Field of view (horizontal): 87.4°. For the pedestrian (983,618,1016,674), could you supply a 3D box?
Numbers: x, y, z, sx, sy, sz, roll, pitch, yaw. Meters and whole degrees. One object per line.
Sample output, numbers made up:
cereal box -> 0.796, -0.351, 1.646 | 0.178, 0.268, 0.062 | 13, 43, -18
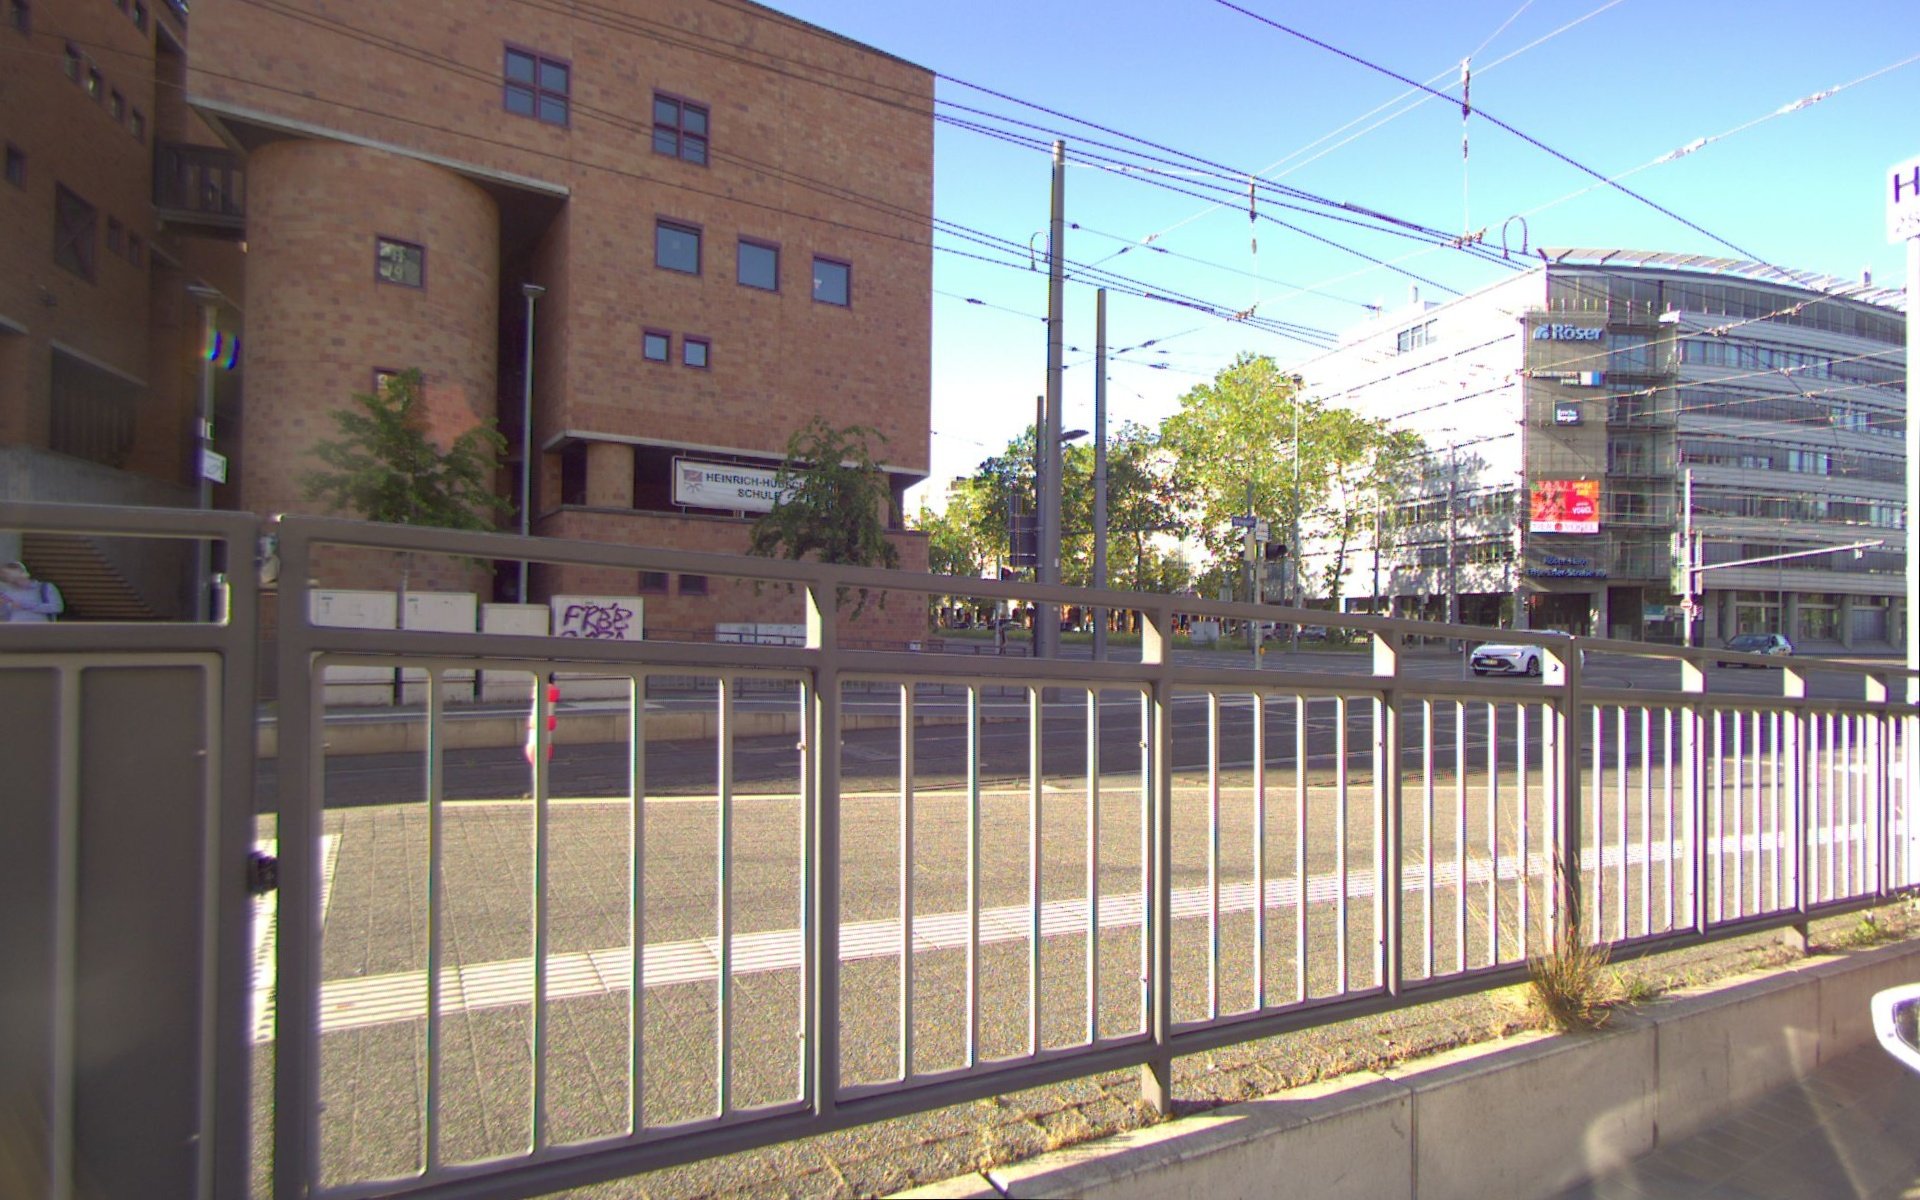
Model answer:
pedestrian -> 1.240, 1.424, 31.180 | 0.785, 1.714, 0.587 | 2, 0, -29

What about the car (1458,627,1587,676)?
car -> 18.017, 1.609, 32.122 | 4.484, 1.449, 1.814 | 1, -1, -35

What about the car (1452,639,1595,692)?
car -> 13.663, 1.559, 24.395 | 2.841, 1.077, 1.238 | 2, 0, 40

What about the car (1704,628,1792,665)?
car -> 33.910, 2.008, 43.211 | 4.198, 1.449, 1.813 | 2, 0, -34

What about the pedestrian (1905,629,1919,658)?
pedestrian -> 67.490, 3.061, 71.094 | 0.745, 2.040, 0.627 | 2, 0, -30

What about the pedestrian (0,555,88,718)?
pedestrian -> -9.708, 0.373, 10.567 | 0.679, 1.656, 0.662 | 2, 0, -34
